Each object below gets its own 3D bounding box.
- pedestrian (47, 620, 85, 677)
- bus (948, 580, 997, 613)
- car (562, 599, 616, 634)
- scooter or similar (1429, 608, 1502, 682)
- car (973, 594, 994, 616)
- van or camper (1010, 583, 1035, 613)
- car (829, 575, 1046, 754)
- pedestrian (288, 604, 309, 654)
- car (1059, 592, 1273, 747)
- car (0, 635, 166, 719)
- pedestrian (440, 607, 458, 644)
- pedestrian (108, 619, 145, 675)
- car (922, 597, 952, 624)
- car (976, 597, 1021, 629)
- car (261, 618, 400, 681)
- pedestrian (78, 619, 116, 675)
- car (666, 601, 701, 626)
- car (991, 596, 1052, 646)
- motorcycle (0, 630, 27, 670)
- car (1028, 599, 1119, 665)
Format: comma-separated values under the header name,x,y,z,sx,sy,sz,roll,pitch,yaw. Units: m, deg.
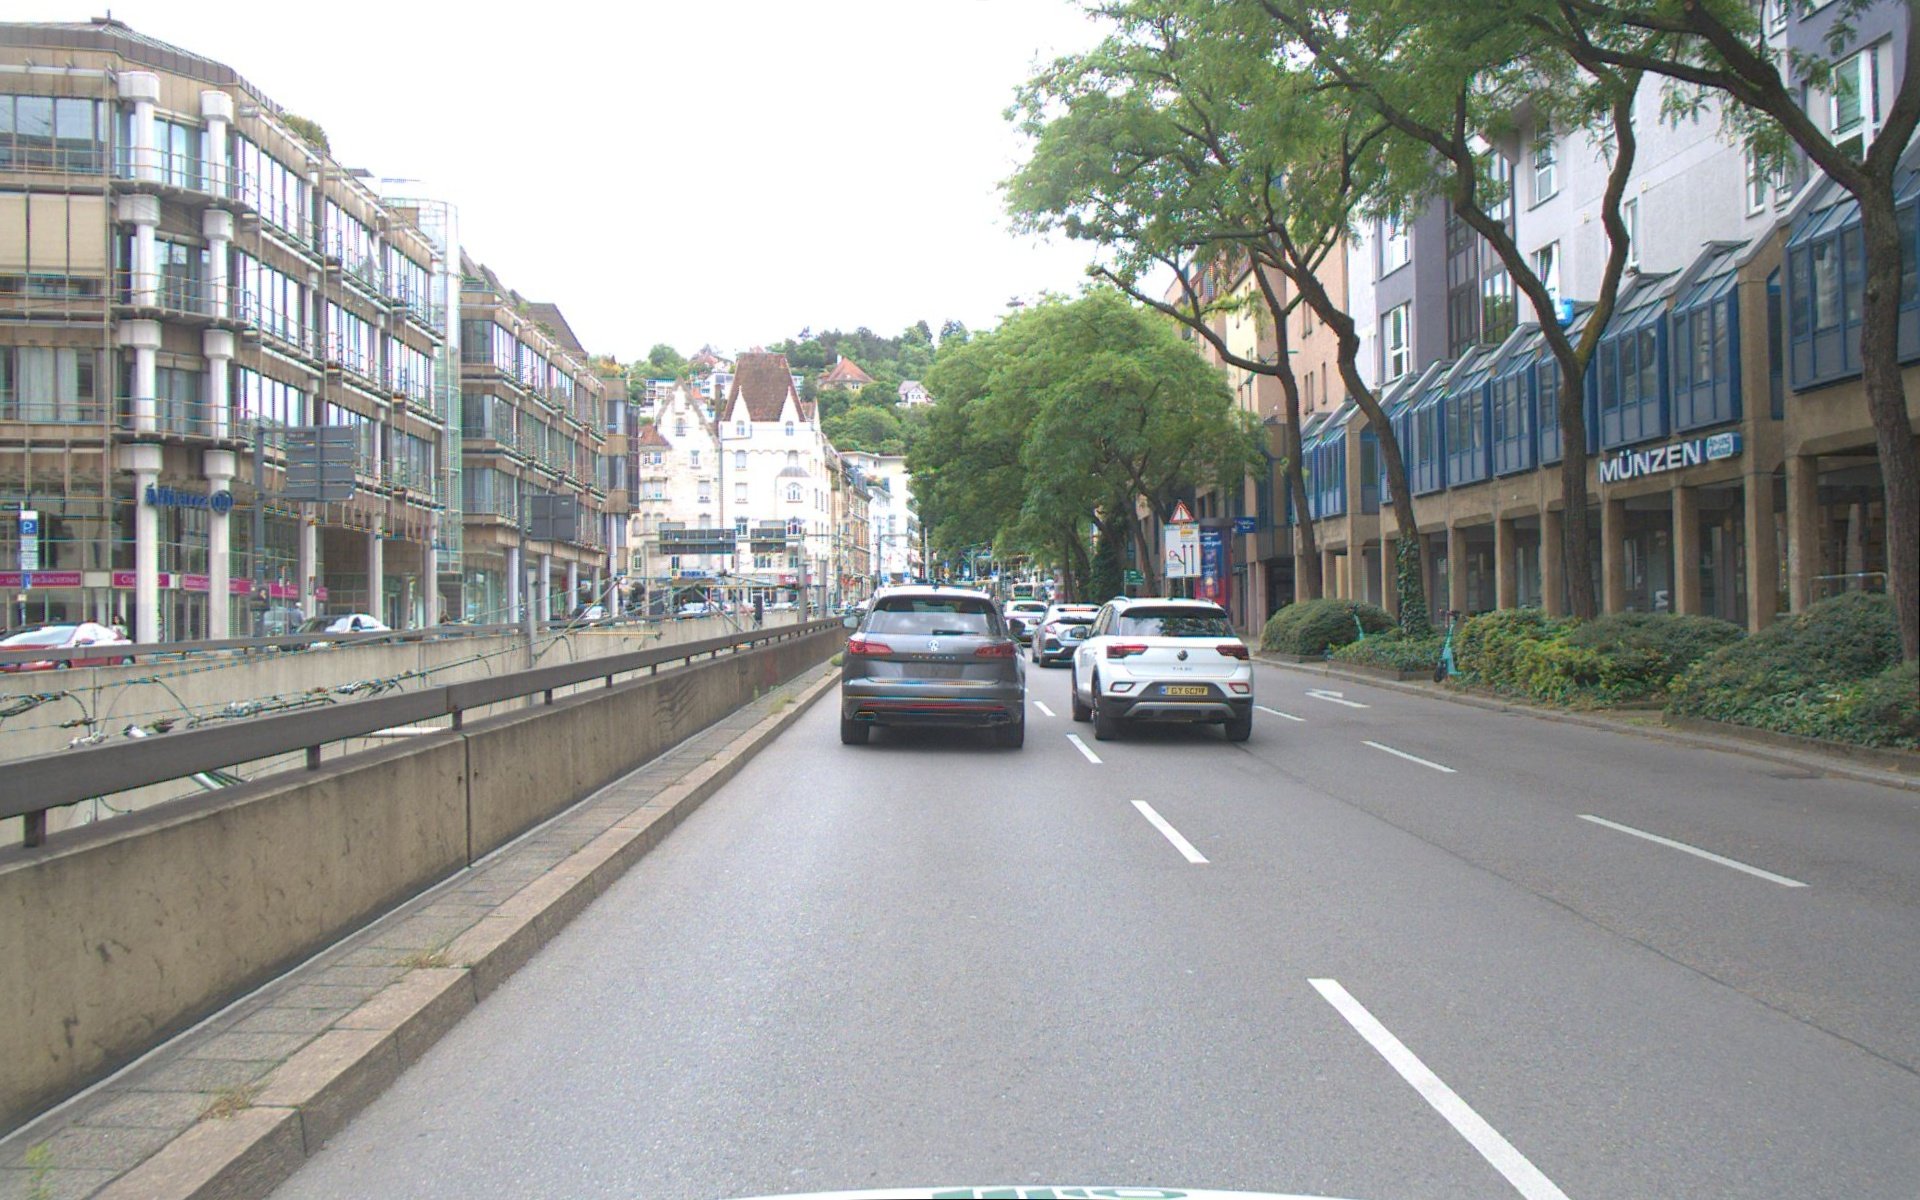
name,x,y,z,sx,sy,sz,roll,pitch,yaw
pedestrian,-25.513,1.373,47.226,0.687,1.571,0.845,-1,0,-9
bus,1.543,-0.407,189.493,3.768,3.593,17.258,-1,0,7
car,-19.991,0.872,89.306,1.953,1.798,4.279,-1,0,-1
scooter or similar,8.582,0.769,28.112,1.083,1.202,0.428,-2,0,9
car,2.117,0.497,151.195,1.794,1.907,4.870,-2,0,0
van or camper,7.012,-0.223,184.095,2.572,3.234,5.806,-1,0,4
car,-0.376,0.631,18.278,1.933,1.725,4.218,1,0,-7
pedestrian,-24.361,1.073,60.915,0.521,1.824,0.694,0,0,0
car,2.308,0.731,19.504,1.762,1.572,3.933,1,1,-4
car,-18.677,1.555,34.426,1.953,1.490,4.885,-1,0,-1
pedestrian,-26.315,1.303,85.150,0.760,1.856,0.712,-1,0,-11
pedestrian,-23.930,1.328,47.500,0.687,1.571,0.845,-1,0,-9
car,-1.464,0.663,104.070,1.795,1.594,3.765,-2,0,-2
car,1.742,0.602,76.606,1.795,1.387,3.765,-2,0,-3
car,-17.826,1.355,47.110,1.952,1.613,4.888,-1,0,1
pedestrian,-24.726,1.349,47.409,0.687,1.571,0.845,-1,0,-9
car,-20.876,1.023,125.144,1.953,1.798,4.279,-1,0,-1
car,1.972,0.671,54.237,1.795,1.544,3.767,-2,0,0
motorcycle,-31.916,1.662,55.265,0.778,1.279,1.932,-1,0,-13
car,2.604,0.749,38.822,1.796,1.457,4.146,0,-1,-1
